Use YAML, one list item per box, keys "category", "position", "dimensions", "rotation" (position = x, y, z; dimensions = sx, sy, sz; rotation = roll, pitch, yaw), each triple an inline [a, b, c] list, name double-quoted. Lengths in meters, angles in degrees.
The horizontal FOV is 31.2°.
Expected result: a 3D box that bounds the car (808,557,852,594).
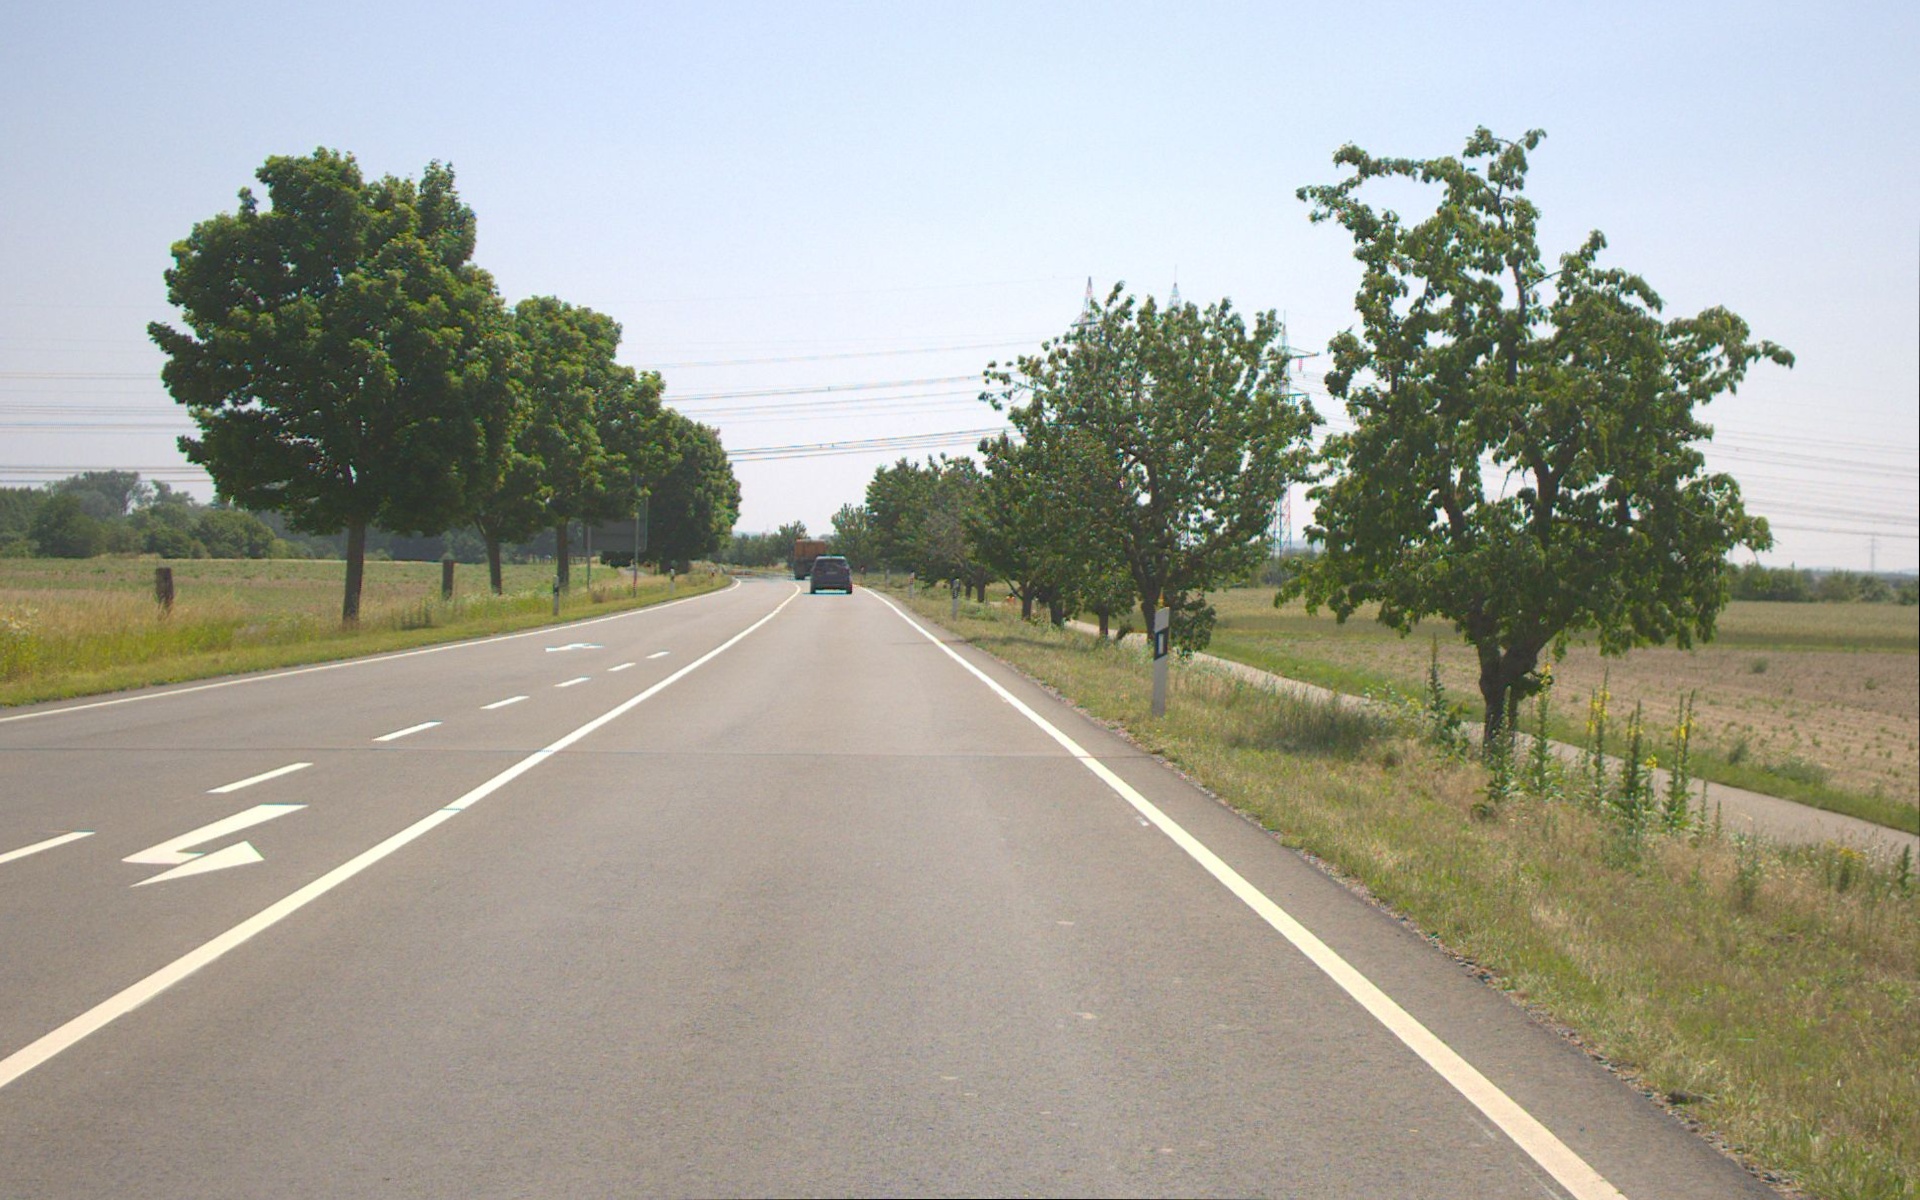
- category: "car"
  position: [-5.853, -1.124, 154.456]
  dimensions: [1.884, 1.513, 4.040]
  rotation: [4, 1, -2]
